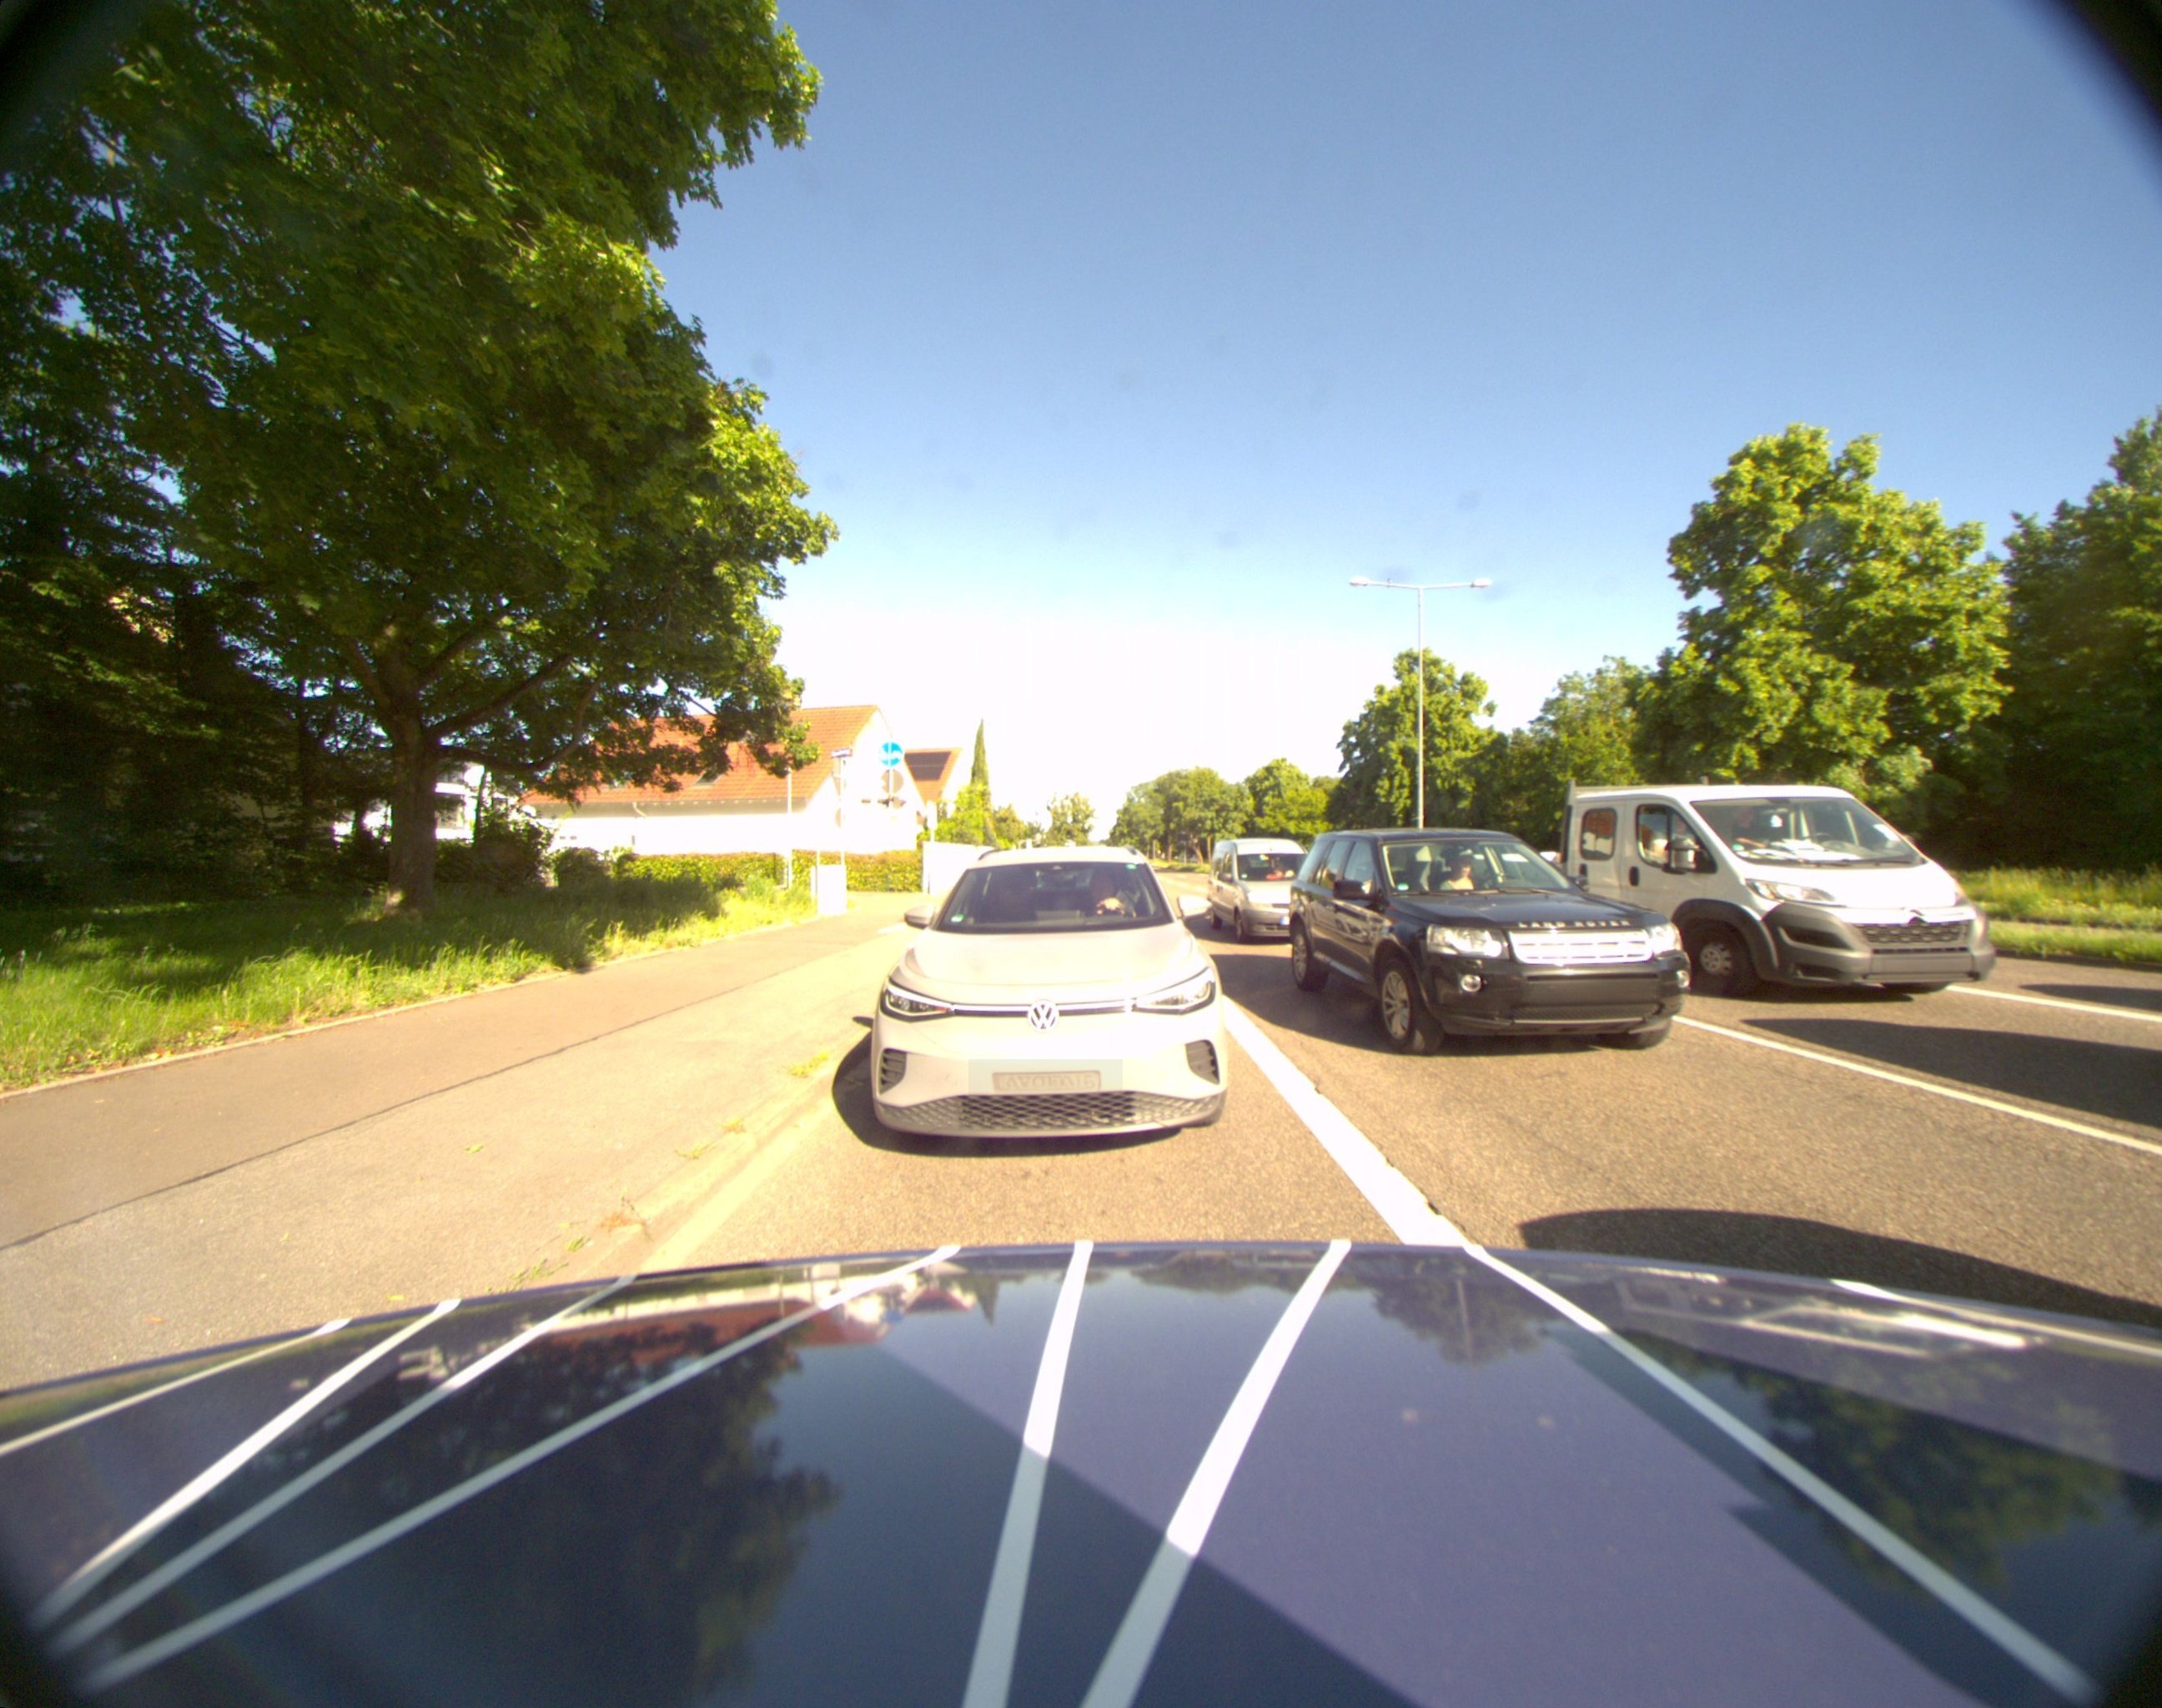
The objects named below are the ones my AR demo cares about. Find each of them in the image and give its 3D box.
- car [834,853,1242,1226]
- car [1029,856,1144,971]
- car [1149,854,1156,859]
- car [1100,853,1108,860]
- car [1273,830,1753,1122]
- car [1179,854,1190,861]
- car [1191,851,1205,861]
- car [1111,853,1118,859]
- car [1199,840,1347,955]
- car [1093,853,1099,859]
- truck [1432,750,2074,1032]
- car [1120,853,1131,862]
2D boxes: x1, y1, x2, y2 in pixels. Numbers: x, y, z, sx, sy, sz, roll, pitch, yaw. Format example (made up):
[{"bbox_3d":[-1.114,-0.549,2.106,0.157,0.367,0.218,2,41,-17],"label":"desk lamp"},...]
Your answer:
[{"bbox_3d":[-0.171,0.850,5.582,1.858,1.679,4.206,0,1,1],"label":"car"},{"bbox_3d":[0.107,0.868,13.026,1.632,1.586,4.024,-2,1,1],"label":"car"},{"bbox_3d":[21.620,0.695,228.458,1.792,1.409,4.000,0,0,1],"label":"car"},{"bbox_3d":[4.960,0.454,164.092,1.704,1.466,3.931,0,0,1],"label":"car"},{"bbox_3d":[3.164,0.717,6.778,1.816,1.721,4.386,-2,1,1],"label":"car"},{"bbox_3d":[20.386,0.712,149.946,1.792,1.409,4.000,0,0,1],"label":"car"},{"bbox_3d":[20.246,0.379,131.807,1.792,1.674,4.000,0,0,1],"label":"car"},{"bbox_3d":[8.616,0.551,196.084,1.726,1.436,4.000,0,0,0],"label":"car"},{"bbox_3d":[3.323,0.656,13.972,1.632,1.741,4.386,-2,1,1],"label":"car"},{"bbox_3d":[4.266,0.586,221.227,1.726,1.630,4.000,0,0,1],"label":"car"},{"bbox_3d":[7.211,0.272,9.774,2.185,2.307,6.842,-2,1,0],"label":"truck"},{"bbox_3d":[7.355,0.596,126.112,1.704,1.466,3.931,-1,0,0],"label":"car"}]
